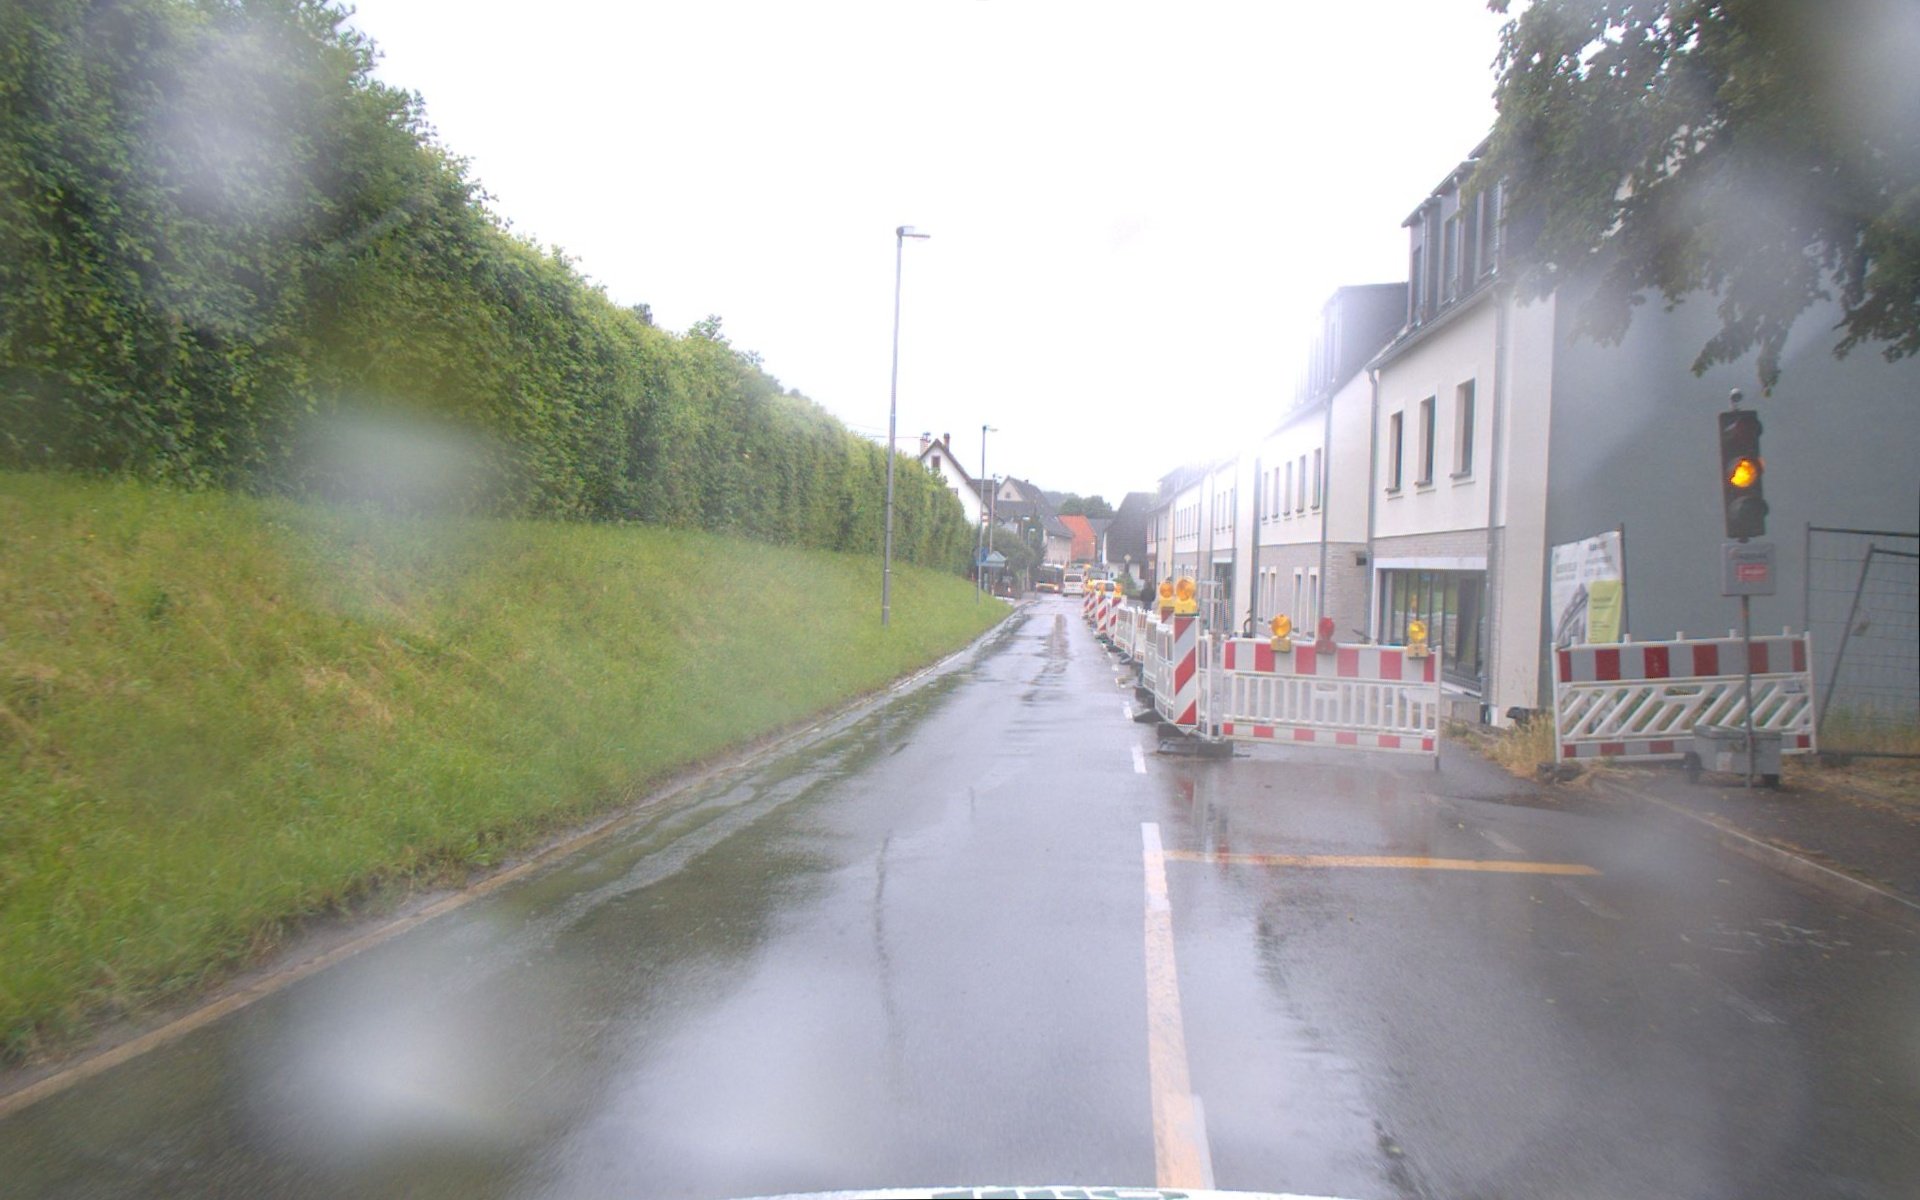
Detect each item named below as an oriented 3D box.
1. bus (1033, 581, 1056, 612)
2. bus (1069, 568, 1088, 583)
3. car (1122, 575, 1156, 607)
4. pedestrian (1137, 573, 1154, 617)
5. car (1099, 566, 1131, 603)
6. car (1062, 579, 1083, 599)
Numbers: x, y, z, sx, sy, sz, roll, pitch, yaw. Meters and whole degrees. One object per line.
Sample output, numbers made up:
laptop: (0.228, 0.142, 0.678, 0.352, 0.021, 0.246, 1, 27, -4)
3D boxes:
bus: (9.145, -0.361, 178.232, 2.195, 3.156, 7.034, 3, 1, 3)
bus: (12.148, -2.503, 169.992, 1.756, 1.434, 4.003, 3, 1, 6)
car: (10.427, -0.553, 96.569, 1.864, 1.803, 3.889, -1, 0, 5)
pedestrian: (7.743, -0.210, 69.142, 0.651, 1.786, 0.812, -1, 0, 5)
car: (10.348, -1.035, 110.708, 1.952, 2.416, 4.098, -1, 0, 4)
car: (9.927, -0.954, 145.795, 1.780, 1.670, 4.098, -1, 1, 4)
